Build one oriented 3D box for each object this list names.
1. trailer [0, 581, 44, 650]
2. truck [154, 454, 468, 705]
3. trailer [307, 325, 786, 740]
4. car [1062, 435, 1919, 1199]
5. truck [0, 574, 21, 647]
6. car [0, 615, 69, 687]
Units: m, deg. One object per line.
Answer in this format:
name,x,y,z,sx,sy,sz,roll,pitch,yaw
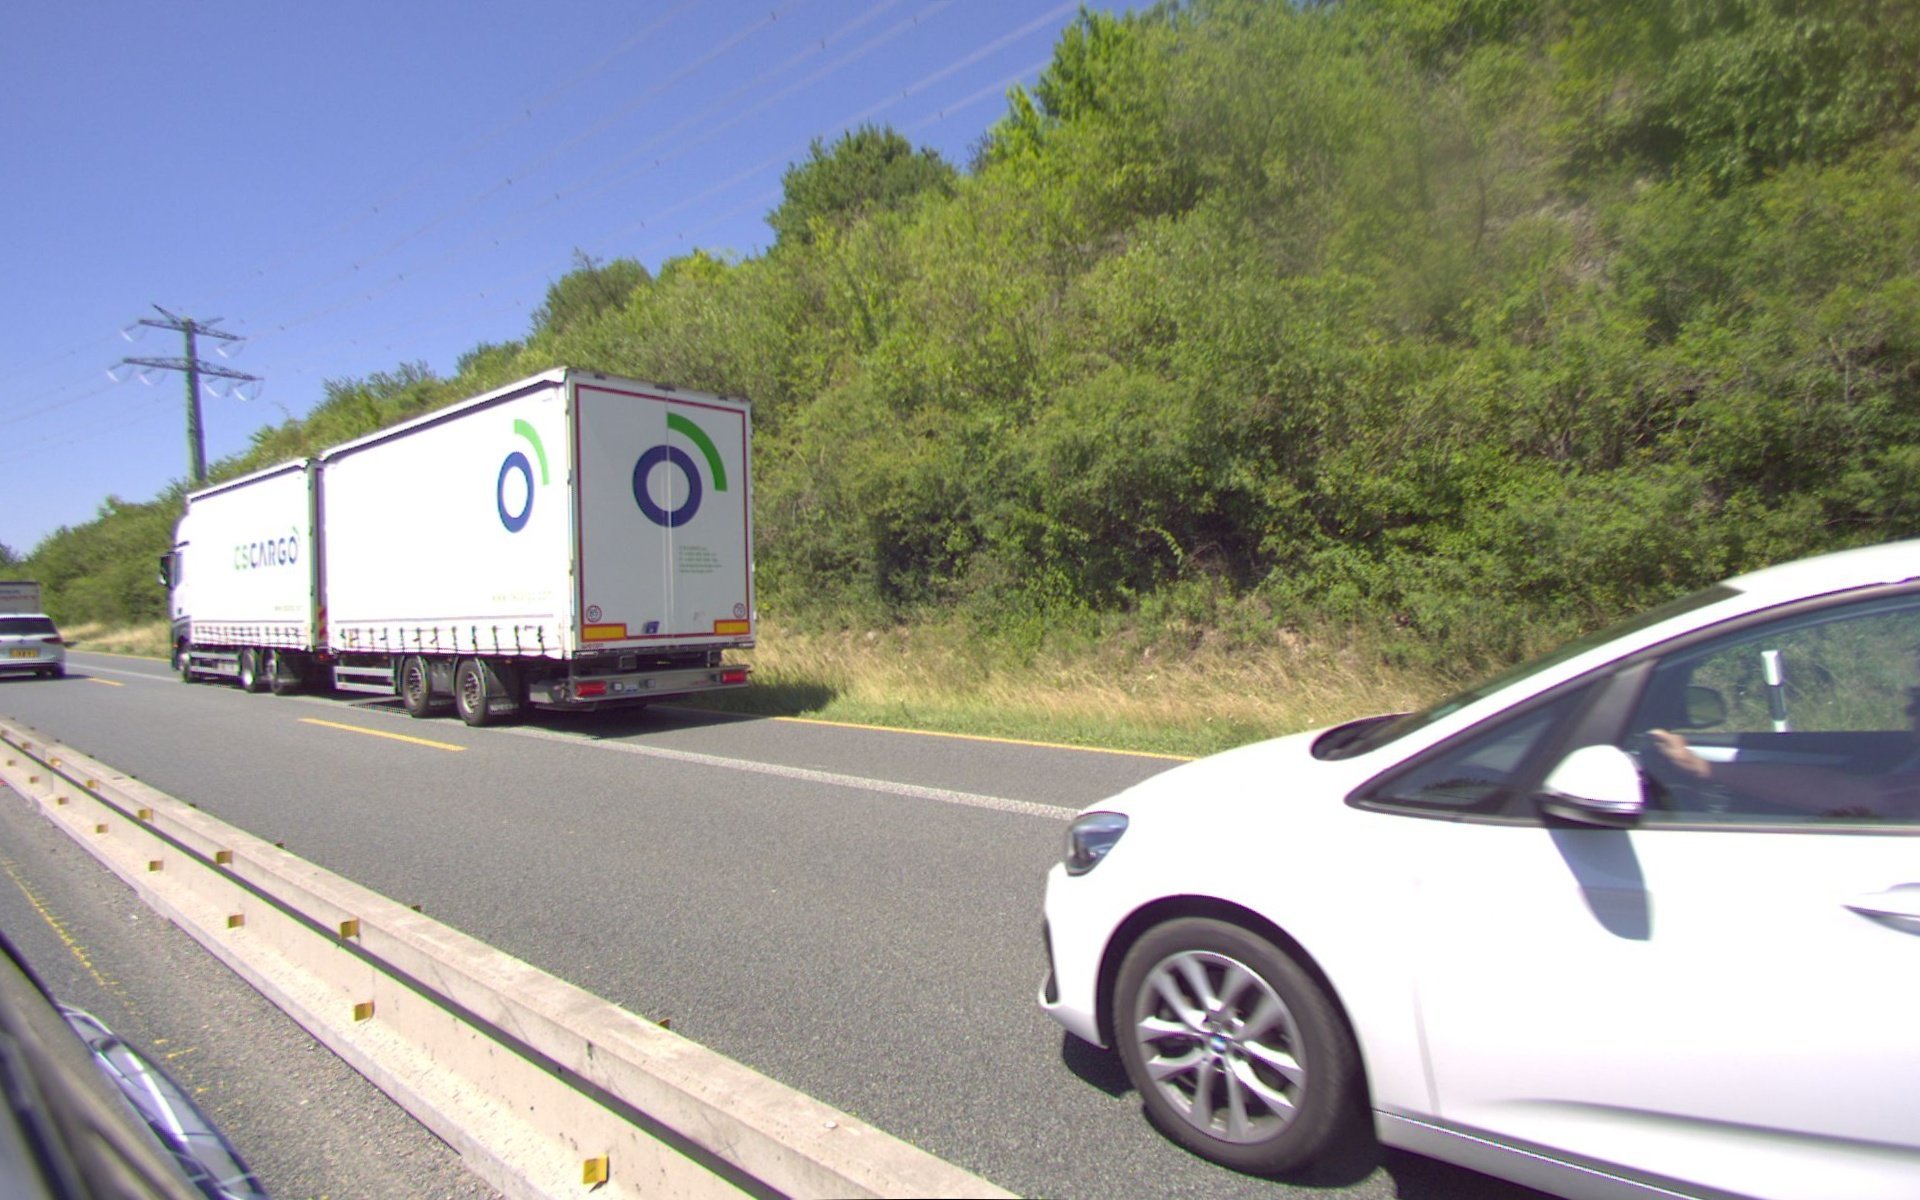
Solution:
trailer,-50.329,0.866,52.855,8.915,3.361,2.623,-2,1,42
truck,-13.515,-0.255,20.486,10.345,4.022,2.385,-2,0,41
trailer,-6.278,-0.660,14.363,8.442,4.345,2.611,-2,0,41
car,2.482,0.532,2.030,4.294,1.644,1.745,-1,0,40
truck,-57.275,0.702,59.029,9.646,4.022,2.622,-2,1,42
car,-23.864,1.226,25.293,4.148,1.643,1.806,-1,0,40
